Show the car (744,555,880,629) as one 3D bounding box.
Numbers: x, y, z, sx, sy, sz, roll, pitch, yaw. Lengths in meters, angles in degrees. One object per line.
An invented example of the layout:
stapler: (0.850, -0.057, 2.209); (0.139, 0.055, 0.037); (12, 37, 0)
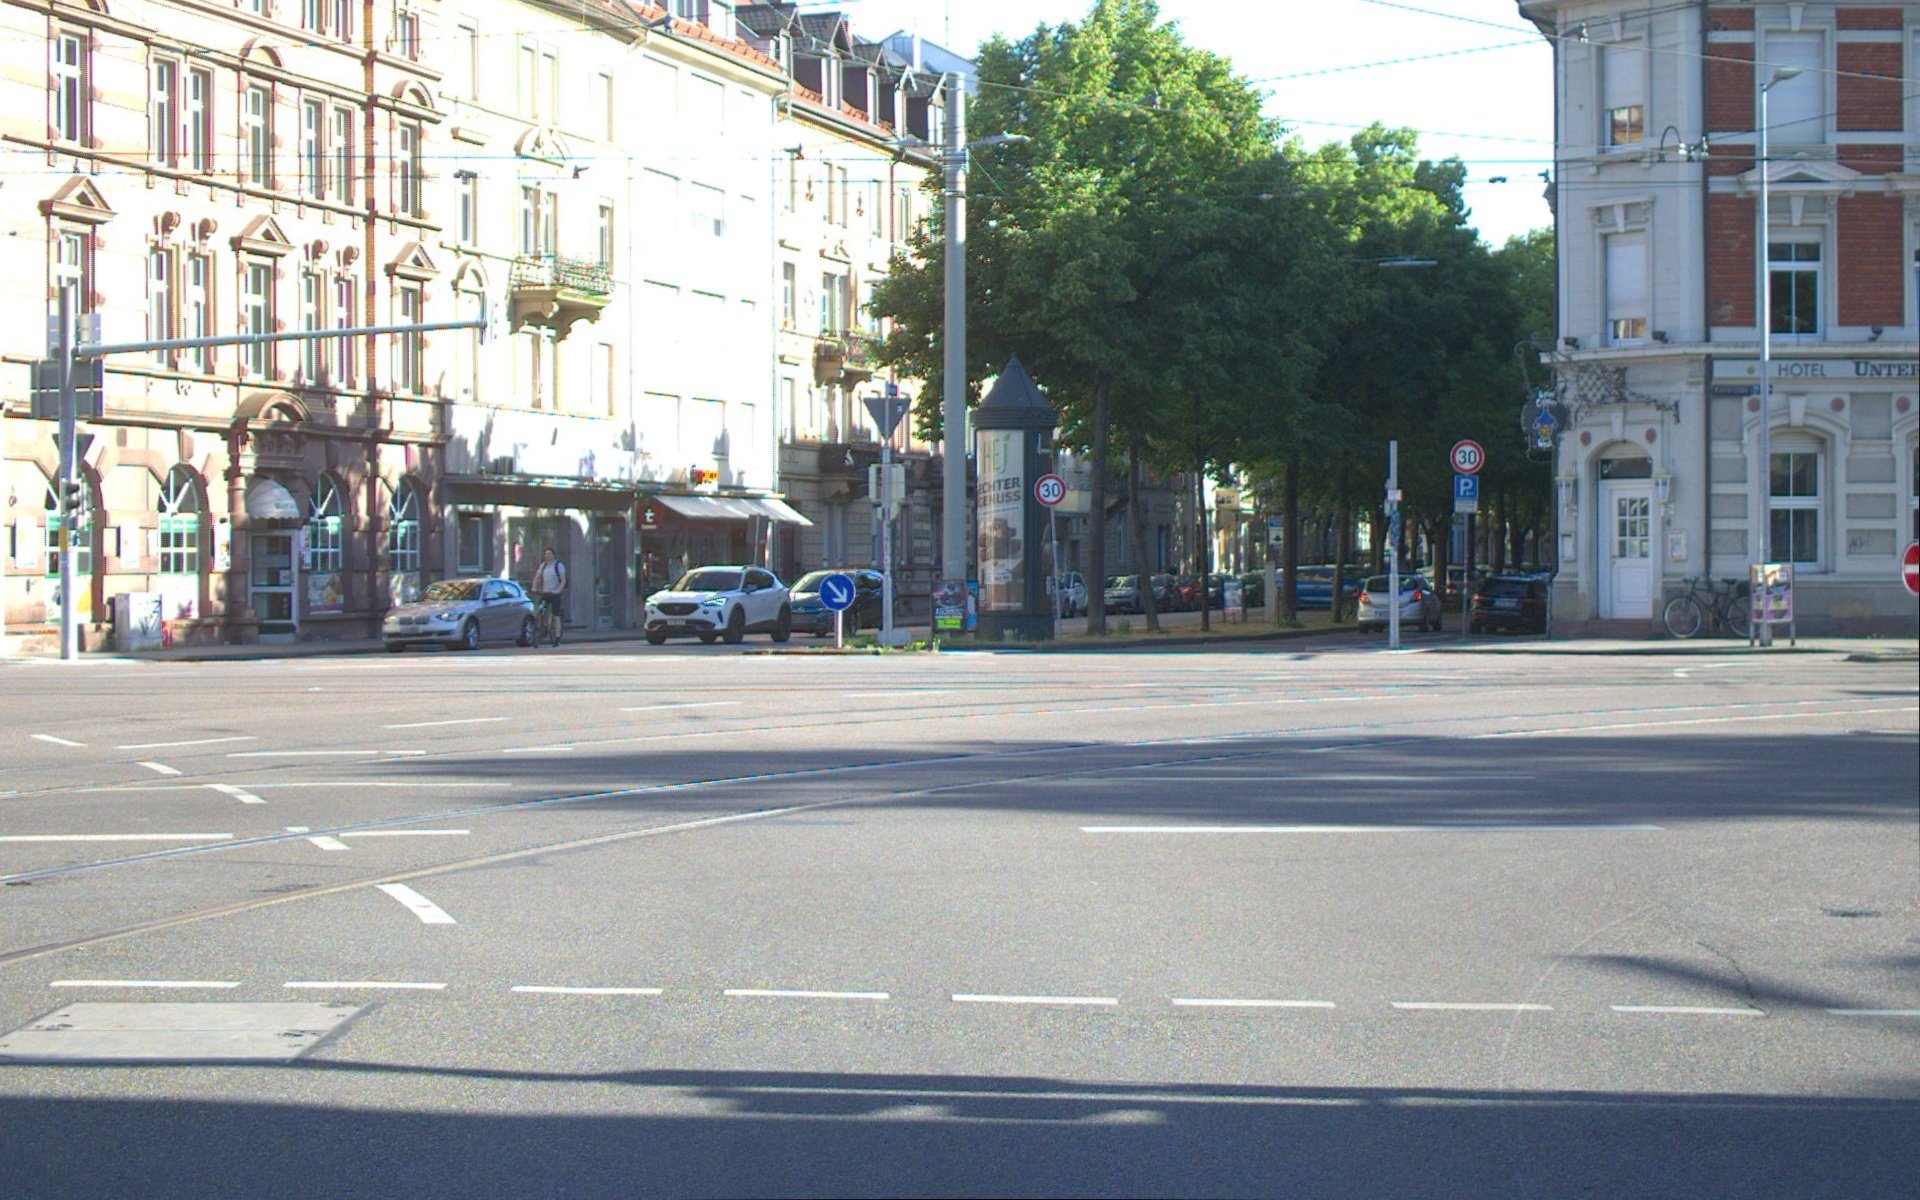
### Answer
car: (-3.131, -0.193, 73.539); (1.994, 1.508, 3.998); (0, 1, 12)

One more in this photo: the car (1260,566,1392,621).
car: (12.288, -0.225, 115.232); (4.113, 1.640, 1.745); (3, 1, 15)

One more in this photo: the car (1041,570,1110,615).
car: (3.917, -0.255, 115.812); (1.741, 1.393, 4.122); (3, 1, 9)

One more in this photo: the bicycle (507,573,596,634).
bicycle: (-7.836, 0.056, 66.067); (0.751, 1.131, 2.808); (0, 1, 14)

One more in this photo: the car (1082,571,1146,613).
car: (5.504, -0.302, 122.789); (1.741, 1.393, 4.122); (3, 1, 9)

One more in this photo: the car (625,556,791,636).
car: (-4.880, -0.106, 67.171); (2.098, 1.494, 3.998); (0, 1, 14)

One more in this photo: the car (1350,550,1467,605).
car: (17.405, -0.875, 133.430); (4.115, 1.912, 1.744); (3, 1, 21)

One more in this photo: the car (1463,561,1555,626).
car: (13.165, -0.157, 82.292); (1.652, 1.519, 3.750); (0, 0, 17)

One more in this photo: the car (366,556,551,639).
car: (-9.779, -0.074, 67.386); (2.098, 1.540, 4.361); (0, 1, 14)

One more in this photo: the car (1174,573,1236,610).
car: (9.722, -0.347, 136.392); (1.742, 1.393, 4.121); (3, 1, 13)

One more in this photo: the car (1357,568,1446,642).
car: (10.908, 0.106, 84.824); (1.675, 1.750, 3.756); (0, 1, 15)

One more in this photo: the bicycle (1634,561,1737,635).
bicycle: (12.060, -0.036, 57.140); (1.639, 1.218, 0.606); (0, 1, 16)

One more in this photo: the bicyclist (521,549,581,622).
bicyclist: (-7.834, -0.287, 65.928); (0.794, 1.370, 1.107); (0, 1, 14)

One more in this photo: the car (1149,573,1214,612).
car: (8.504, -0.312, 131.614); (1.742, 1.393, 4.121); (3, 1, 13)

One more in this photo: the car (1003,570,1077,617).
car: (2.593, -0.216, 110.007); (1.741, 1.393, 4.122); (3, 1, 9)
